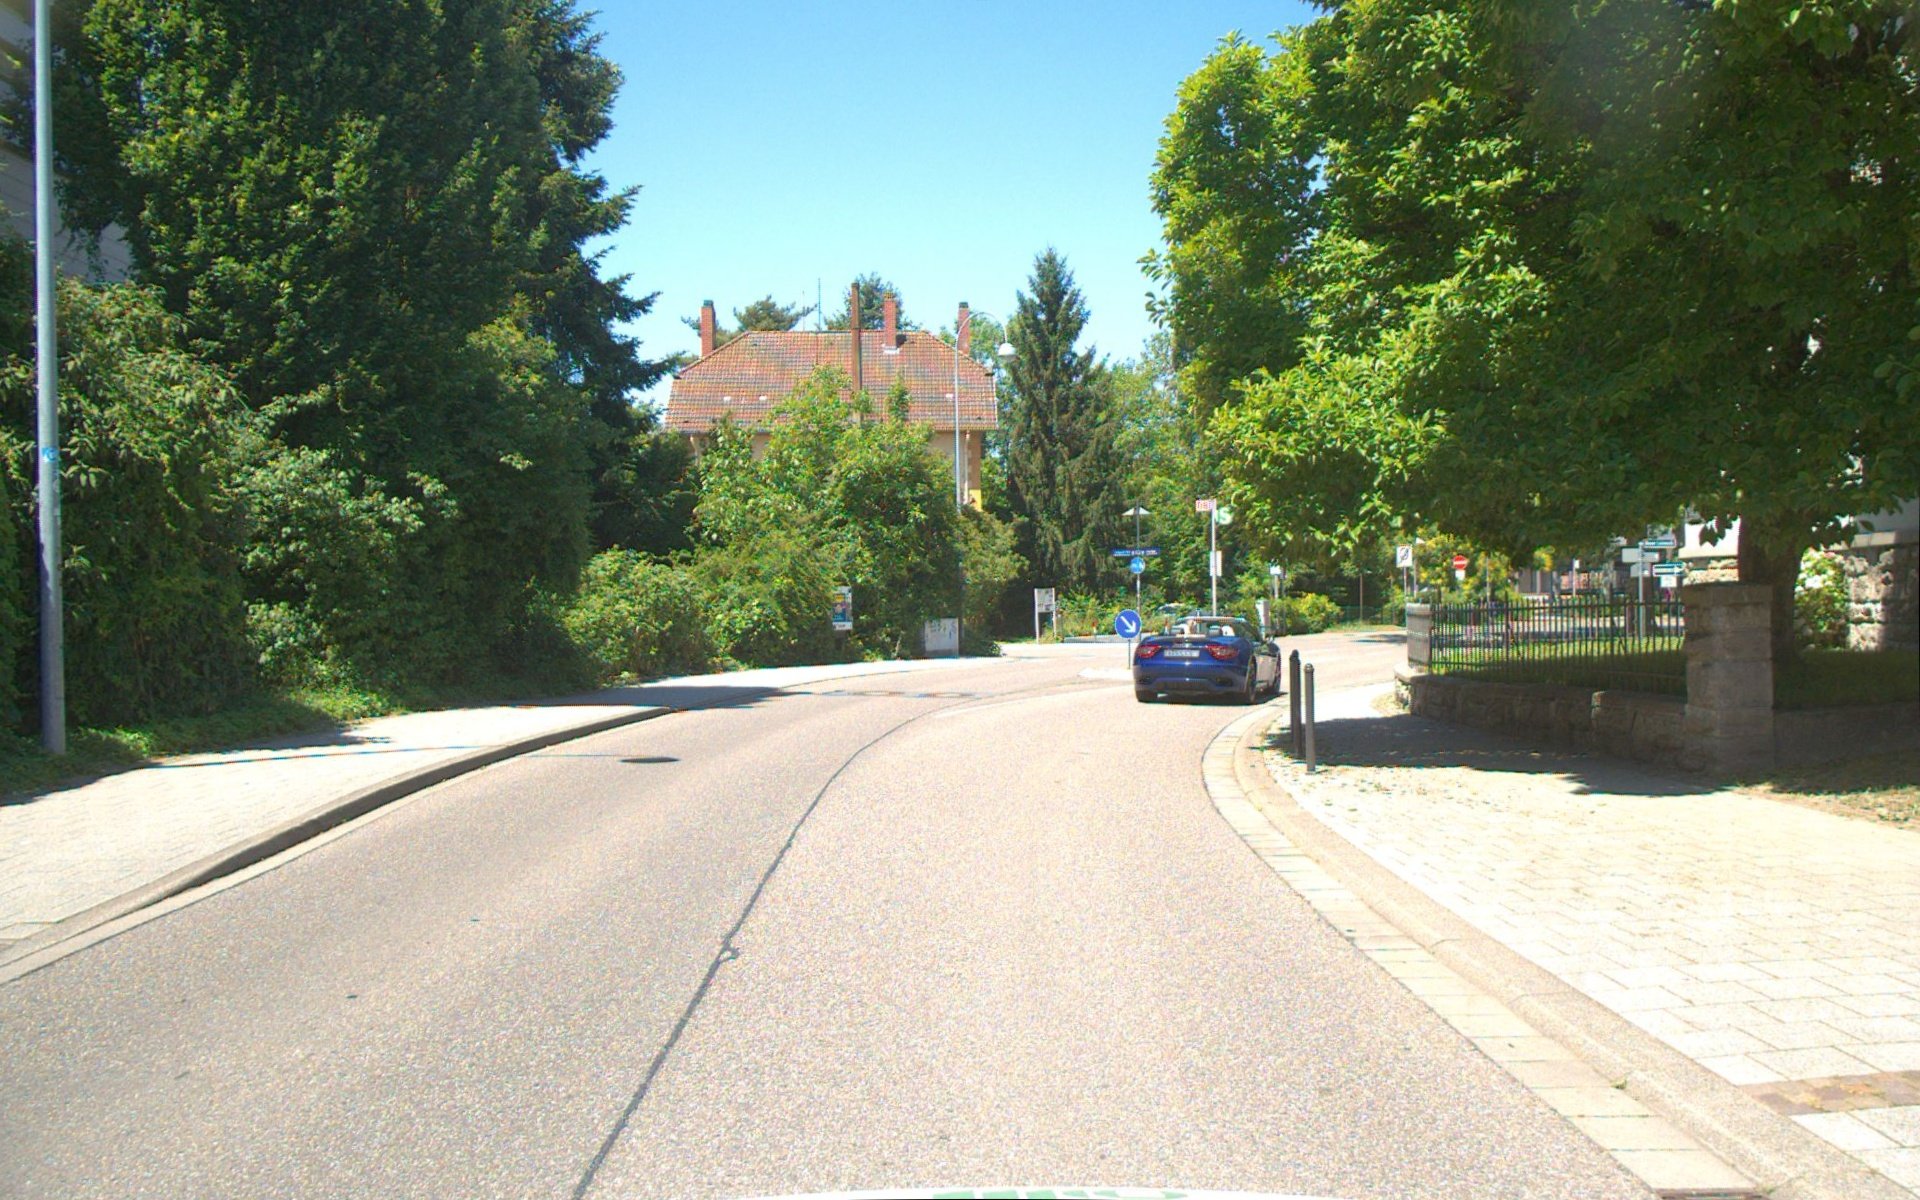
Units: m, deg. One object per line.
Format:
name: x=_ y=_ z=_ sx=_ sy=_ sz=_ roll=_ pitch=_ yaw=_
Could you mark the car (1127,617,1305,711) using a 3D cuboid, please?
car: x=4.319 y=0.989 z=27.295 sx=1.790 sy=1.360 sz=4.698 roll=1 pitch=0 yaw=23
